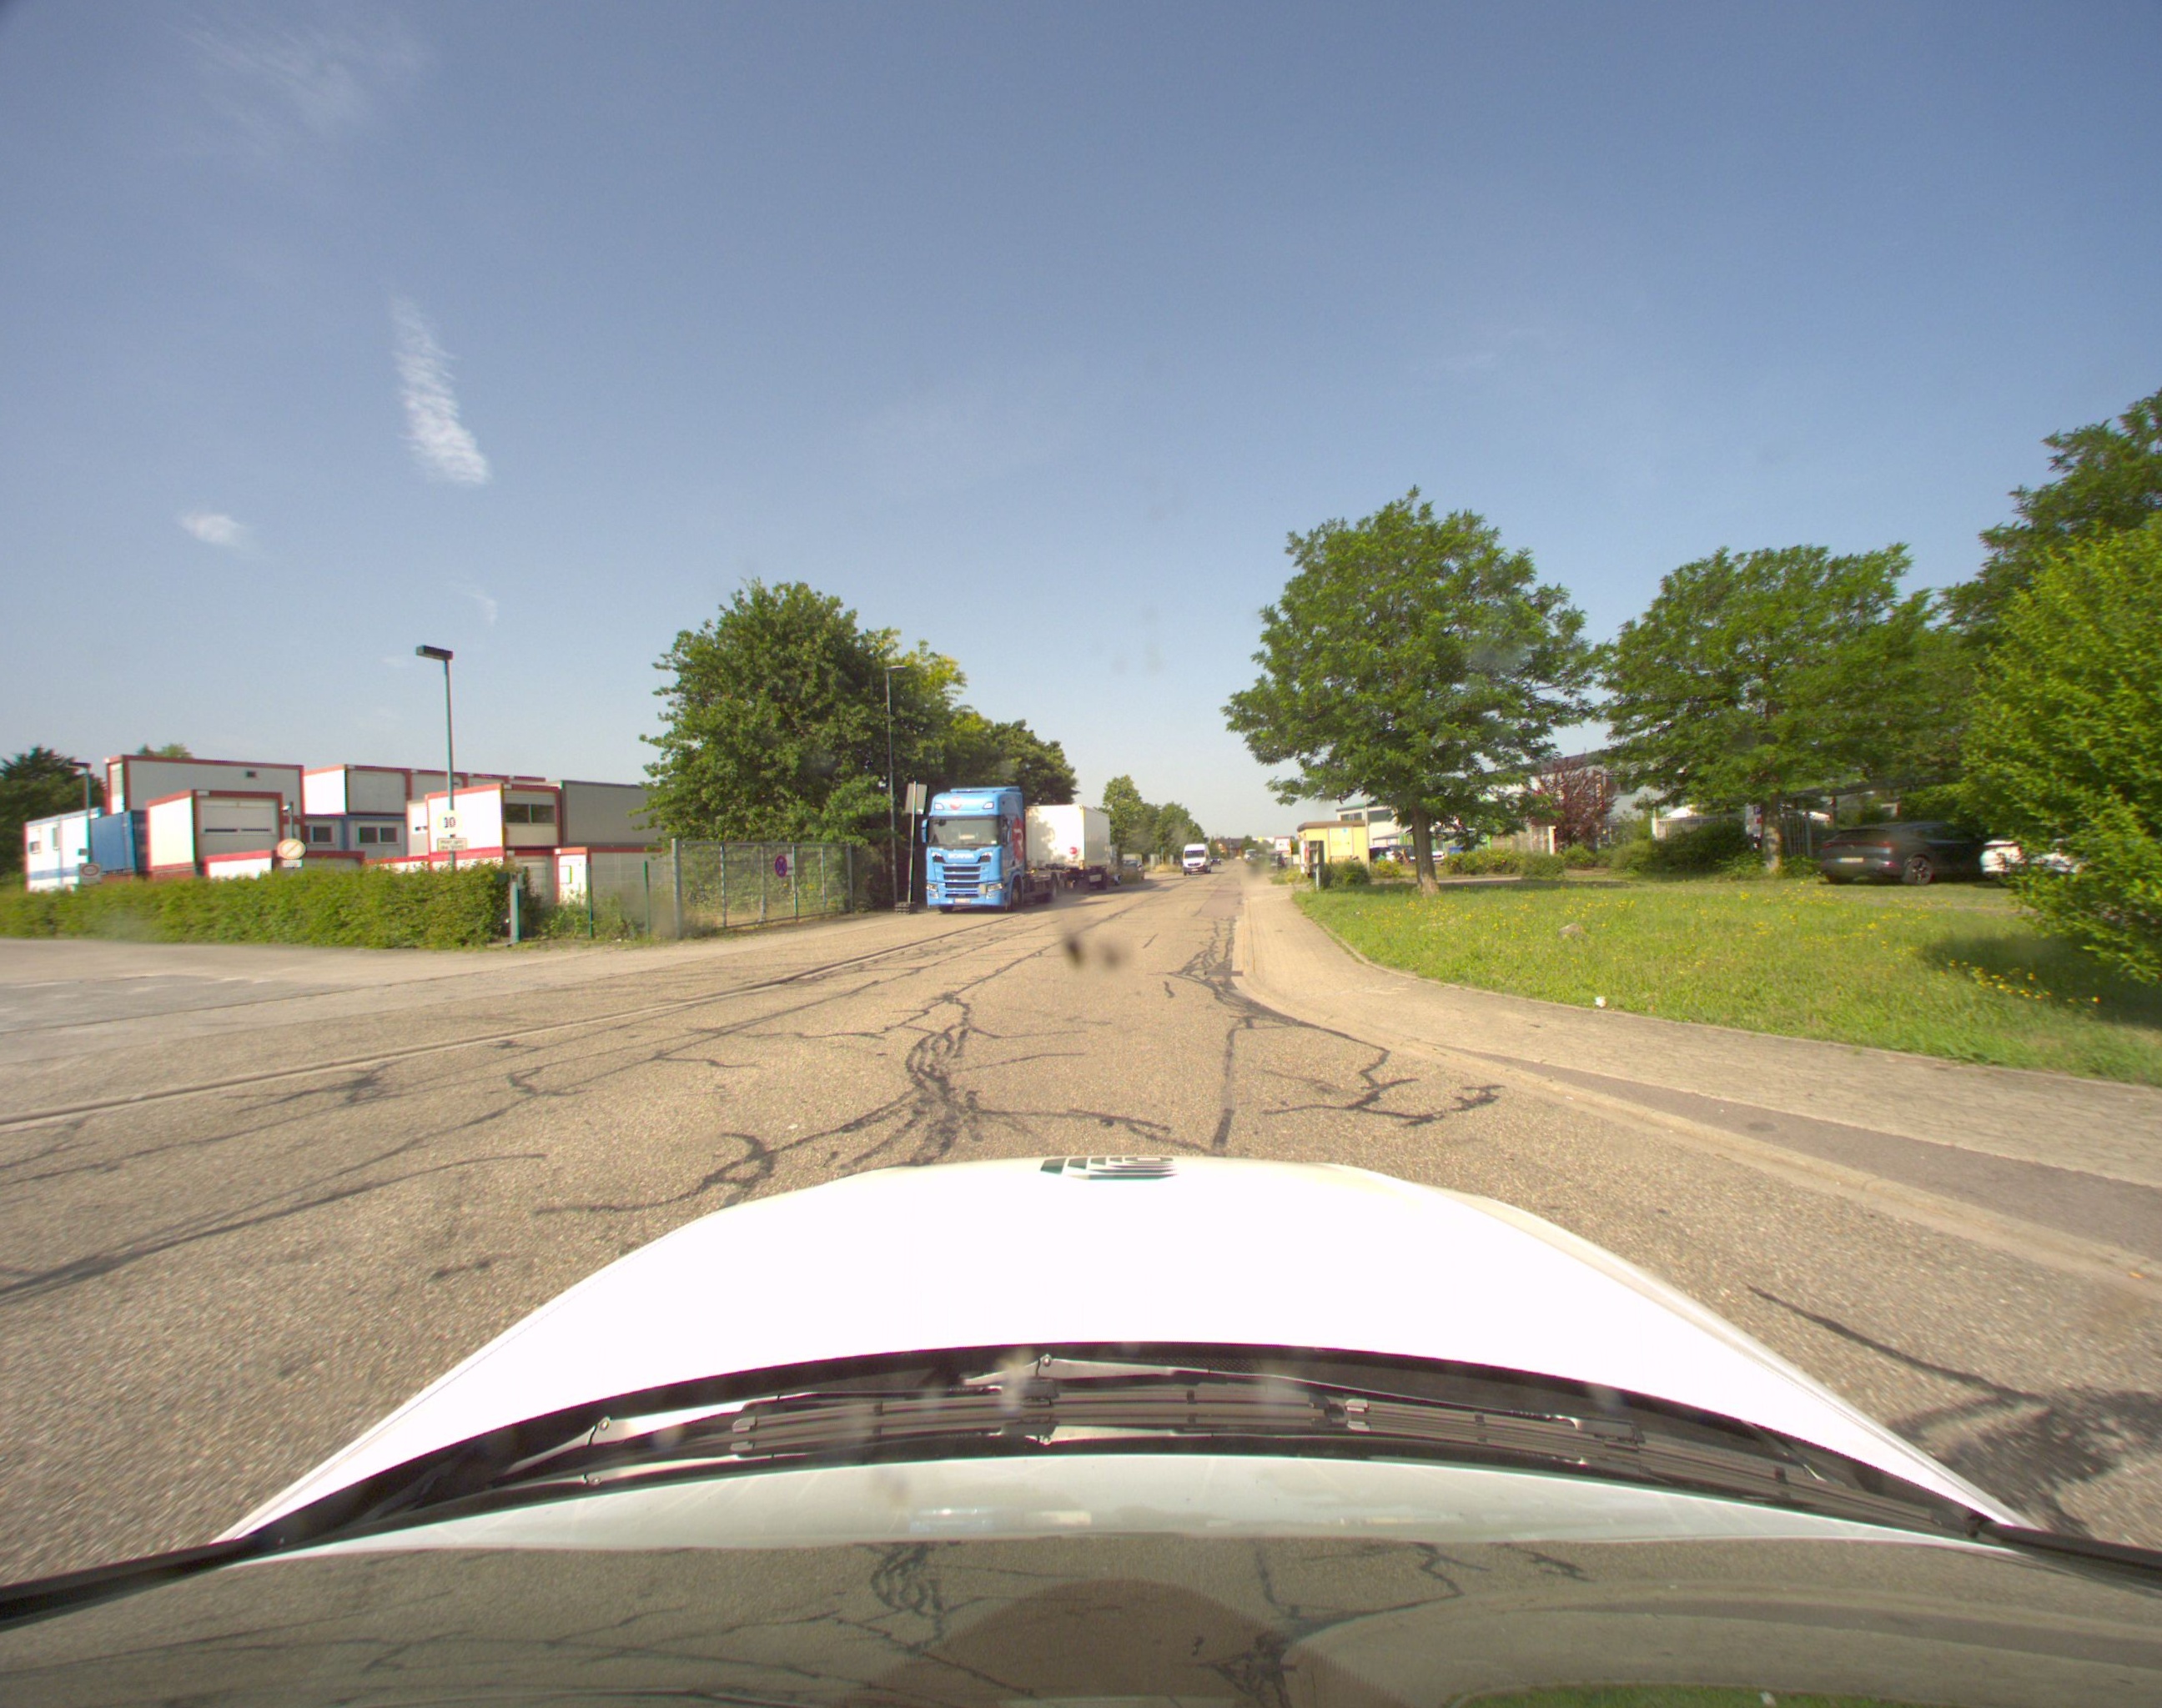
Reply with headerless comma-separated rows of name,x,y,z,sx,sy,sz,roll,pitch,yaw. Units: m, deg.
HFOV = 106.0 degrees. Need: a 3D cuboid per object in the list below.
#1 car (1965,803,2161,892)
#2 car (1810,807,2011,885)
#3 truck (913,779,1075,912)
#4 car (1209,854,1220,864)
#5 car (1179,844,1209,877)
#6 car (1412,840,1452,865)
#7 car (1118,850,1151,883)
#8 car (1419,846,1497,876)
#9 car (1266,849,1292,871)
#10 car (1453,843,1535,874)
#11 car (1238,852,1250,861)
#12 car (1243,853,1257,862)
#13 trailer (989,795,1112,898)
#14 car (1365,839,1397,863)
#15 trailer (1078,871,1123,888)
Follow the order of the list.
car,20.981,-0.126,16.825,4.074,1.701,1.759,0,-1,-10
car,20.396,-0.175,20.055,4.000,1.767,1.987,0,-1,-20
truck,-2.589,-0.181,28.381,2.807,3.826,9.702,-1,-1,11
car,23.828,0.929,145.344,1.631,1.662,4.006,-1,-1,5
car,9.597,0.564,69.419,2.204,2.686,6.862,-1,-1,5
car,23.844,-0.066,55.438,1.780,1.640,4.013,-1,-1,12
car,3.490,0.811,53.678,1.986,2.013,4.002,-2,0,2
car,17.362,0.323,37.702,1.665,1.330,3.657,0,-1,-5
car,15.988,0.512,65.891,1.781,1.750,4.011,-1,-1,10
car,19.111,0.239,37.871,1.746,1.373,3.657,0,-1,-5
car,33.046,0.529,165.519,1.764,1.815,4.001,0,-1,2
car,29.670,0.600,142.868,1.779,1.495,3.746,0,-1,2
trailer,-0.934,-0.199,36.581,2.813,3.843,12.072,-1,-1,11
car,20.822,-0.185,56.672,1.705,1.618,4.015,-1,-1,15
trailer,1.155,1.415,45.751,1.884,0.760,4.012,-2,0,10
